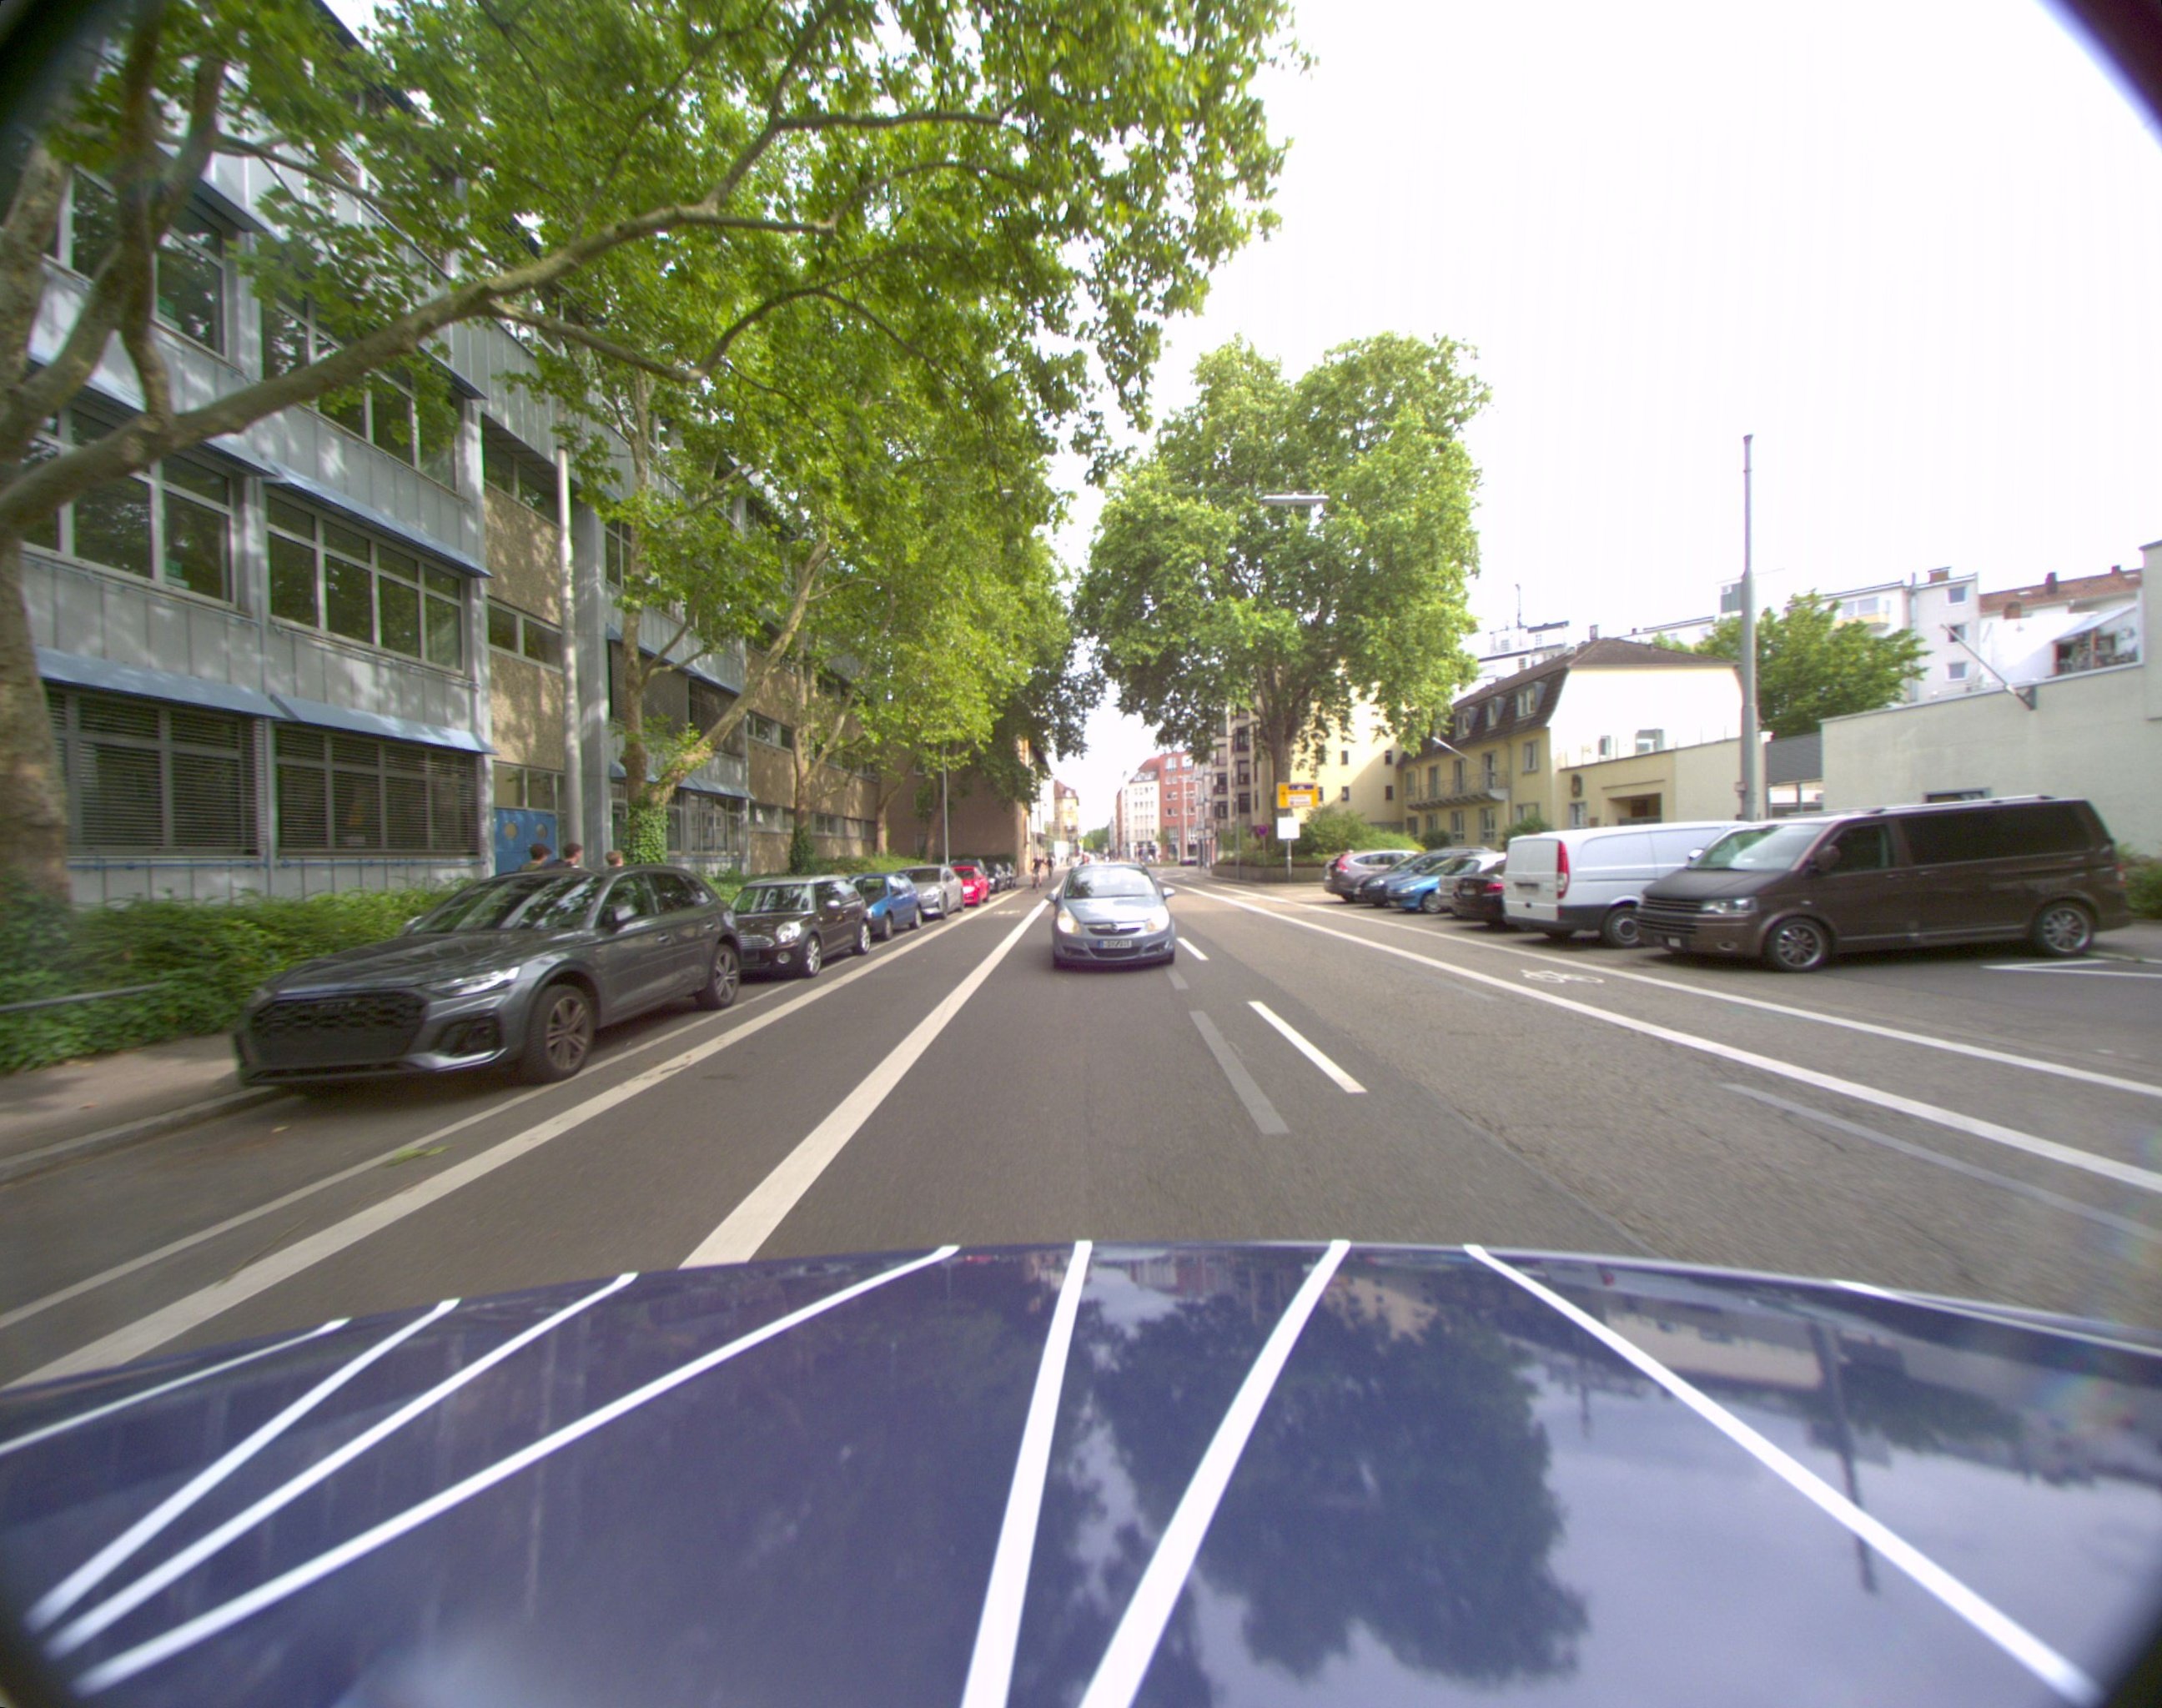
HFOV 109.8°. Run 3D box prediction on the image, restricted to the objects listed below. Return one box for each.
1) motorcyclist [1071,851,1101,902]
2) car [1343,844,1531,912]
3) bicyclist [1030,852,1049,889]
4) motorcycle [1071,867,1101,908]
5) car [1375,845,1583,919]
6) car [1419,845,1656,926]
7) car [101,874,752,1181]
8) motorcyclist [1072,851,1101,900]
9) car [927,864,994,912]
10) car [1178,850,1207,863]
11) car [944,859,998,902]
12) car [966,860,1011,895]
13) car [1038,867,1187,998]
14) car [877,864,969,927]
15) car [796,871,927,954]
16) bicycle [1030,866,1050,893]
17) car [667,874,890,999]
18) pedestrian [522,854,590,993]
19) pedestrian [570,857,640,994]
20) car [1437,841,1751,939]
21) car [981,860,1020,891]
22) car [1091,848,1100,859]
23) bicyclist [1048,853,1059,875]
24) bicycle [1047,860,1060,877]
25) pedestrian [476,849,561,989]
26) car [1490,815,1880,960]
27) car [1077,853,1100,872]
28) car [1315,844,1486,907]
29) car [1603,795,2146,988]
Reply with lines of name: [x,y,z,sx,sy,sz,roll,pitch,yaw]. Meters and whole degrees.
motorcyclist: [0.159,0.718,24.837,0.905,1.608,0.691,-1,1,0]
car: [9.892,0.660,21.357,4.372,1.540,1.733,-4,0,1]
bicyclist: [-1.928,0.753,35.575,0.764,1.699,0.917,-2,1,1]
motorcycle: [0.162,1.057,24.838,0.904,1.190,2.630,-1,0,0]
car: [9.932,0.675,19.190,4.276,1.502,1.719,-4,0,1]
car: [10.082,0.667,17.016,4.203,1.443,1.719,-4,0,1]
car: [-4.892,1.103,6.812,1.926,1.612,4.480,-3,0,-1]
motorcyclist: [0.187,0.709,25.546,0.905,1.608,0.691,-1,1,0]
car: [-4.245,1.170,27.340,1.602,1.438,4.105,-3,0,1]
car: [15.621,0.363,106.081,1.967,1.660,4.560,-2,1,38]
car: [-4.731,1.114,33.099,1.651,1.655,3.797,-3,0,1]
car: [-4.510,1.139,37.644,1.602,1.516,3.956,-3,0,1]
car: [0.395,0.962,11.089,1.717,1.412,4.253,-2,0,1]
car: [-4.453,1.106,22.056,1.602,1.496,4.440,-3,0,1]
car: [-4.660,1.177,16.693,1.602,1.414,3.956,-3,0,1]
bicycle: [-1.908,1.182,35.508,0.763,1.162,1.949,-2,0,1]
car: [-4.542,1.145,12.264,1.644,1.424,4.573,-3,0,1]
pedestrian: [-6.965,0.903,10.101,0.502,1.775,0.527,2,1,-1]
pedestrian: [-6.363,0.942,10.182,0.592,1.775,0.476,2,1,-1]
car: [9.751,0.657,14.736,4.716,1.461,1.874,-4,0,1]
car: [-4.421,1.149,42.357,1.602,1.516,3.956,-3,0,1]
car: [3.307,-0.110,171.463,1.998,2.546,4.799,-2,0,1]
bicyclist: [-2.072,0.749,57.420,0.749,1.590,0.819,-2,1,1]
bicycle: [-2.069,1.087,57.417,0.763,1.162,1.949,-2,0,1]
pedestrian: [-7.615,0.852,10.310,0.644,1.823,0.645,2,1,-1]
car: [9.518,0.501,12.298,4.627,1.848,1.950,-4,0,1]
car: [0.669,0.771,68.202,2.000,1.556,4.550,-2,0,0]
car: [9.850,0.641,23.672,4.529,1.596,1.754,-4,0,1]
car: [9.891,0.444,9.828,4.778,1.923,1.994,-4,0,1]
